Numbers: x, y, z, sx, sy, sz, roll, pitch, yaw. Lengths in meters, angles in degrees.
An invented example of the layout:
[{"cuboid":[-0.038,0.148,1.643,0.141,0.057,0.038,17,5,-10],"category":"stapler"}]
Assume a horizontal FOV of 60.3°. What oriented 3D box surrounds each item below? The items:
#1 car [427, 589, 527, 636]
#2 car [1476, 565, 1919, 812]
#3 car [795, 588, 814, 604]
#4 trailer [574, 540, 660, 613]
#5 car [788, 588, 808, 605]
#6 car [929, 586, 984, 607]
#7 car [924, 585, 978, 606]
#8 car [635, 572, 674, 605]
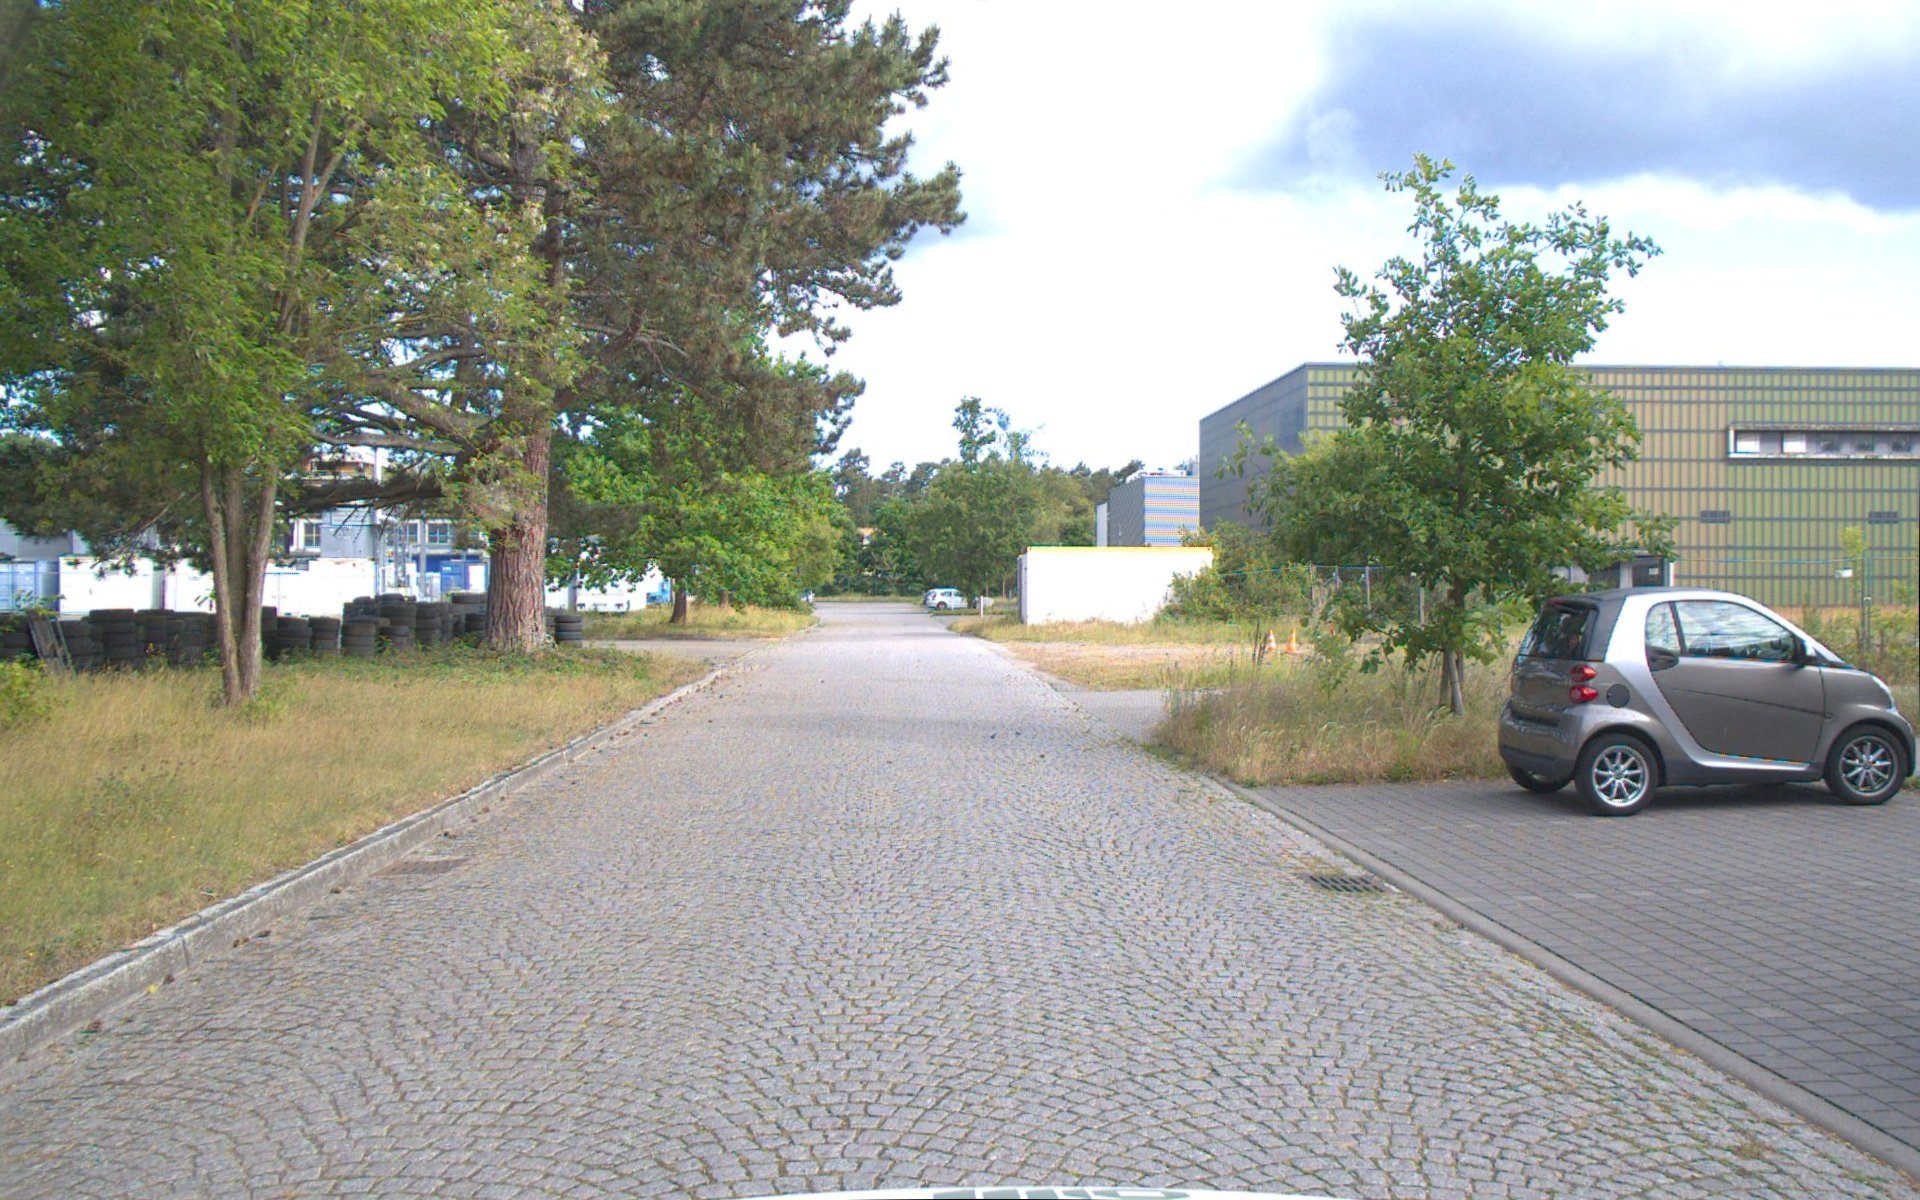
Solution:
[{"cuboid":[-15.409,0.368,53.017,1.786,1.456,4.220,0,0,3],"category":"car"},{"cuboid":[5.503,0.602,12.381,2.686,1.609,1.682,-2,1,-3],"category":"car"},{"cuboid":[-14.388,-0.398,152.924,1.715,1.480,3.996,0,0,-5],"category":"car"},{"cuboid":[-18.752,-1.253,91.155,2.602,3.770,10.720,0,0,-1],"category":"trailer"},{"cuboid":[-13.989,-0.328,142.735,1.715,1.388,3.996,0,0,-5],"category":"car"},{"cuboid":[-0.294,-0.256,119.505,3.907,1.481,1.999,0,0,-3],"category":"car"},{"cuboid":[-0.694,-0.334,121.653,3.907,1.481,1.696,0,0,-3],"category":"car"},{"cuboid":[-24.064,-0.927,130.568,1.952,2.567,5.618,0,0,0],"category":"car"}]
